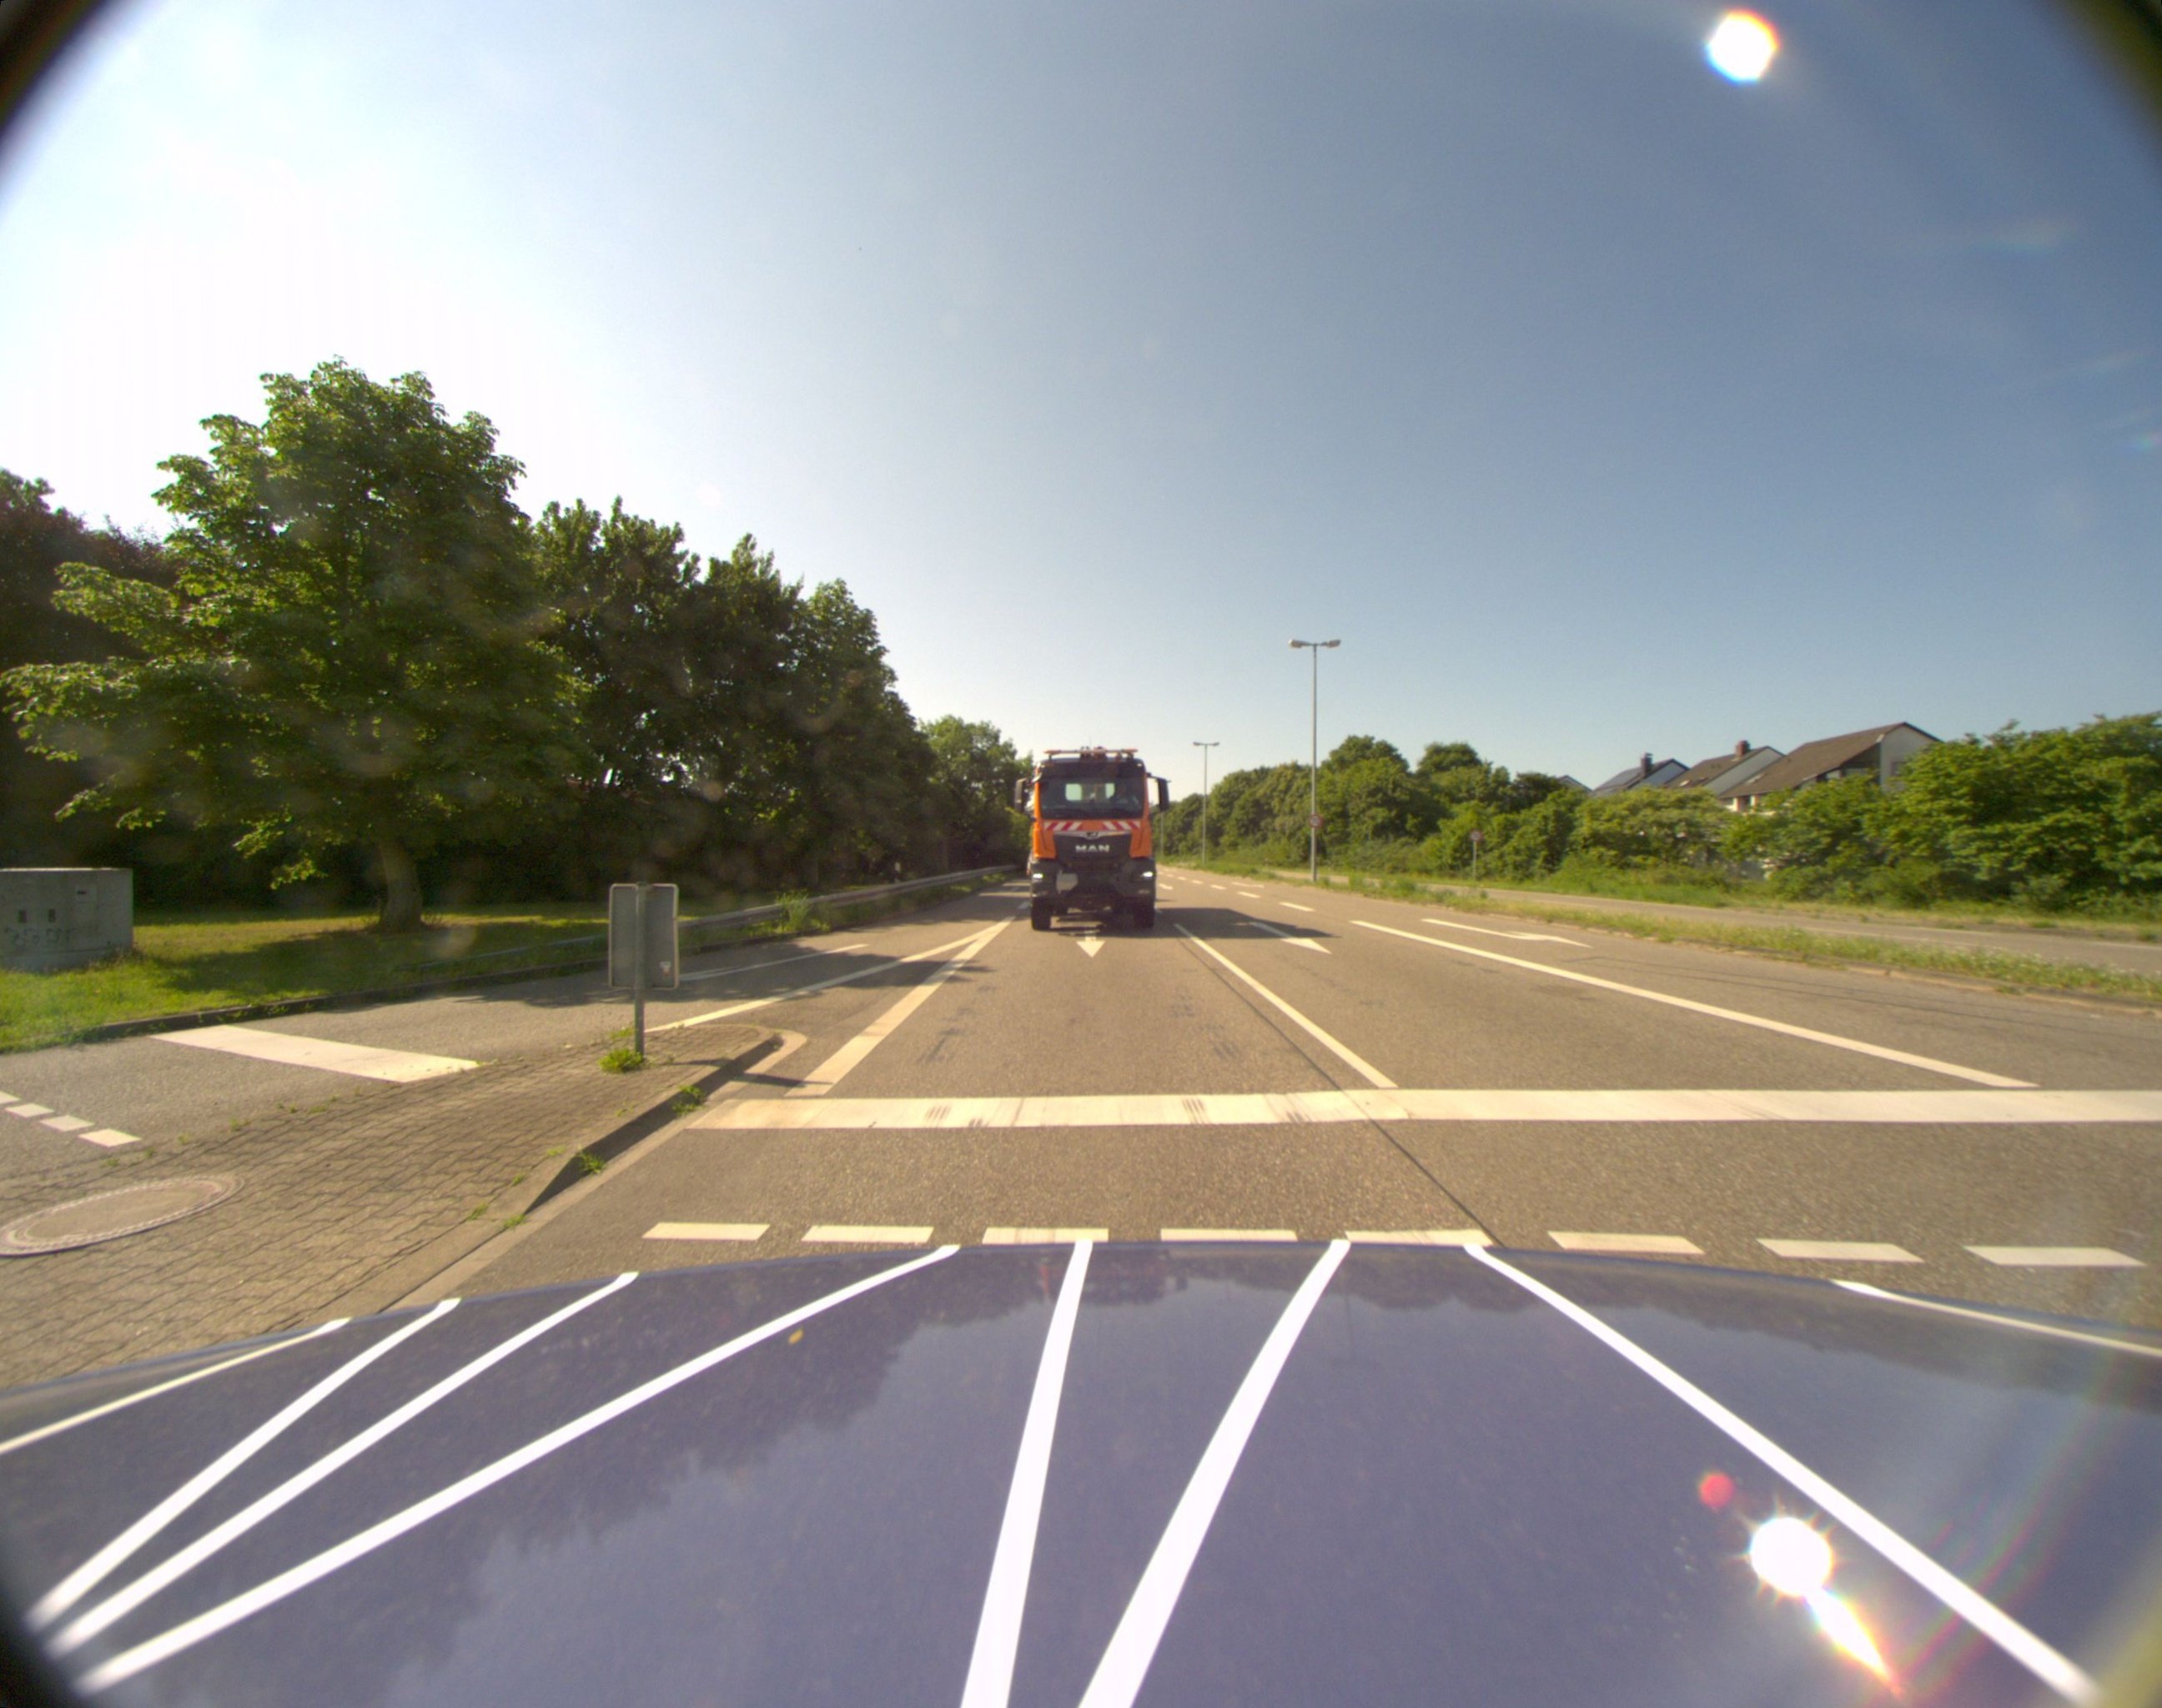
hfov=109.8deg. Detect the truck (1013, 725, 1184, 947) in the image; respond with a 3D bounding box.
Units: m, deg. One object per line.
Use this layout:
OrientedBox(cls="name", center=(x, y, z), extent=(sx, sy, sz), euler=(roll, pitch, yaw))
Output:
OrientedBox(cls="truck", center=(0.385, -0.351, 16.779), extent=(2.940, 3.853, 6.590), euler=(-2, 1, 1))
